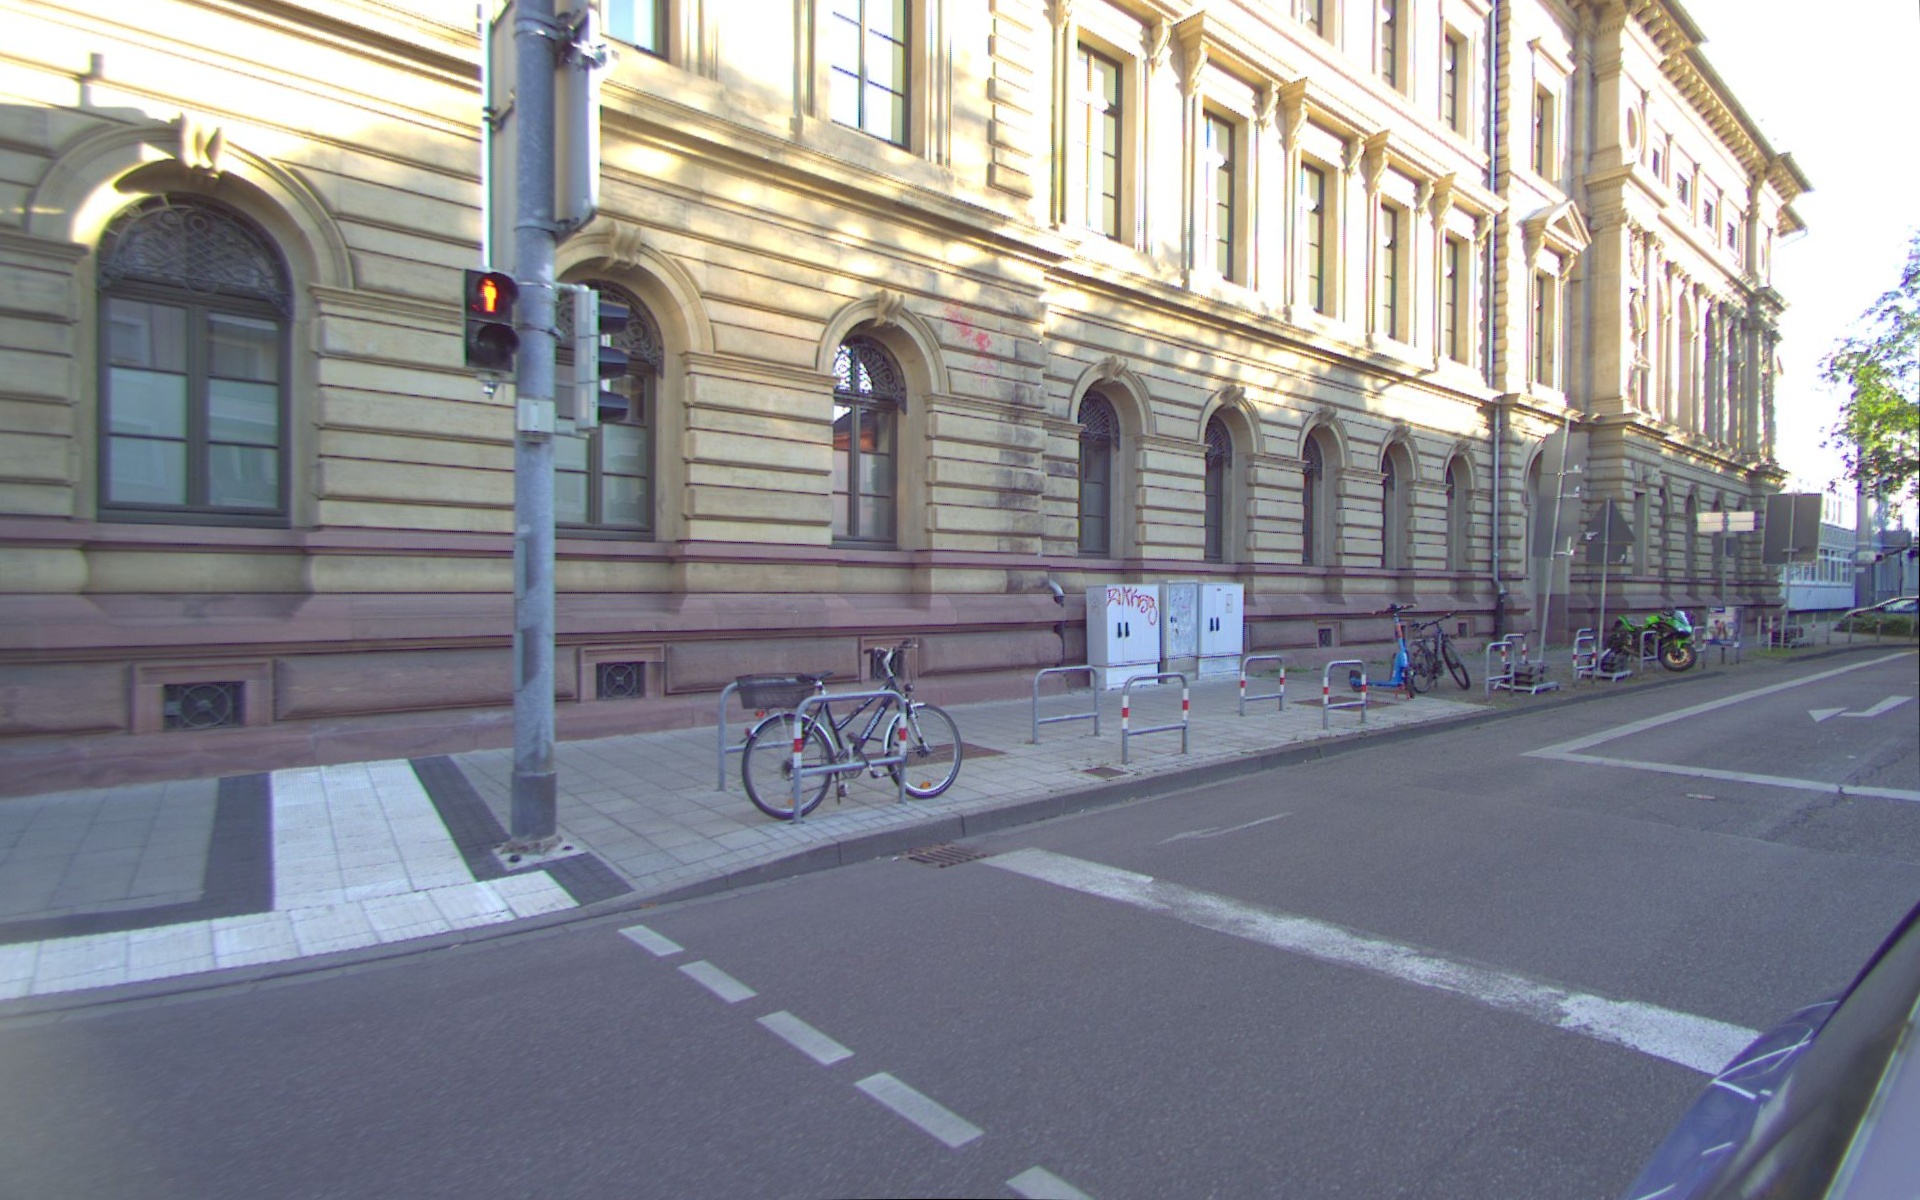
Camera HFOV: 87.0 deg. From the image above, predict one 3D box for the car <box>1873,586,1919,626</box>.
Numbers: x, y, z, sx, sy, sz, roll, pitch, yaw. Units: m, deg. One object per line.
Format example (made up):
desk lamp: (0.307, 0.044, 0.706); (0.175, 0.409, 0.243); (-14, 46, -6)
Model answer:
car: (38.993, 0.322, 39.779); (1.643, 1.513, 4.367); (0, 4, -40)

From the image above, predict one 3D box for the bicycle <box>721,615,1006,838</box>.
bicycle: (-0.587, 0.750, 6.738); (1.887, 1.203, 0.583); (-2, 2, -41)

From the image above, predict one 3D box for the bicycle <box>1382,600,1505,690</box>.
bicycle: (6.912, 0.599, 14.438); (1.910, 1.148, 0.829); (0, 3, -41)

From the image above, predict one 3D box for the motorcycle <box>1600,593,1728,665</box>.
motorcycle: (13.613, 0.523, 19.667); (0.695, 1.230, 2.109); (1, 3, -11)

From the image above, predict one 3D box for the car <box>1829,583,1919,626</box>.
car: (36.370, 0.190, 38.887); (1.804, 1.482, 4.362); (-1, 4, -44)

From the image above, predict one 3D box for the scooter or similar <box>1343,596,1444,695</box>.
scooter or similar: (5.797, 0.578, 13.580); (0.572, 1.210, 1.136); (0, 3, -22)

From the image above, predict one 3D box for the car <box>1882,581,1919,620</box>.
car: (43.463, 0.086, 44.335); (2.020, 1.662, 4.364); (0, 3, -42)
